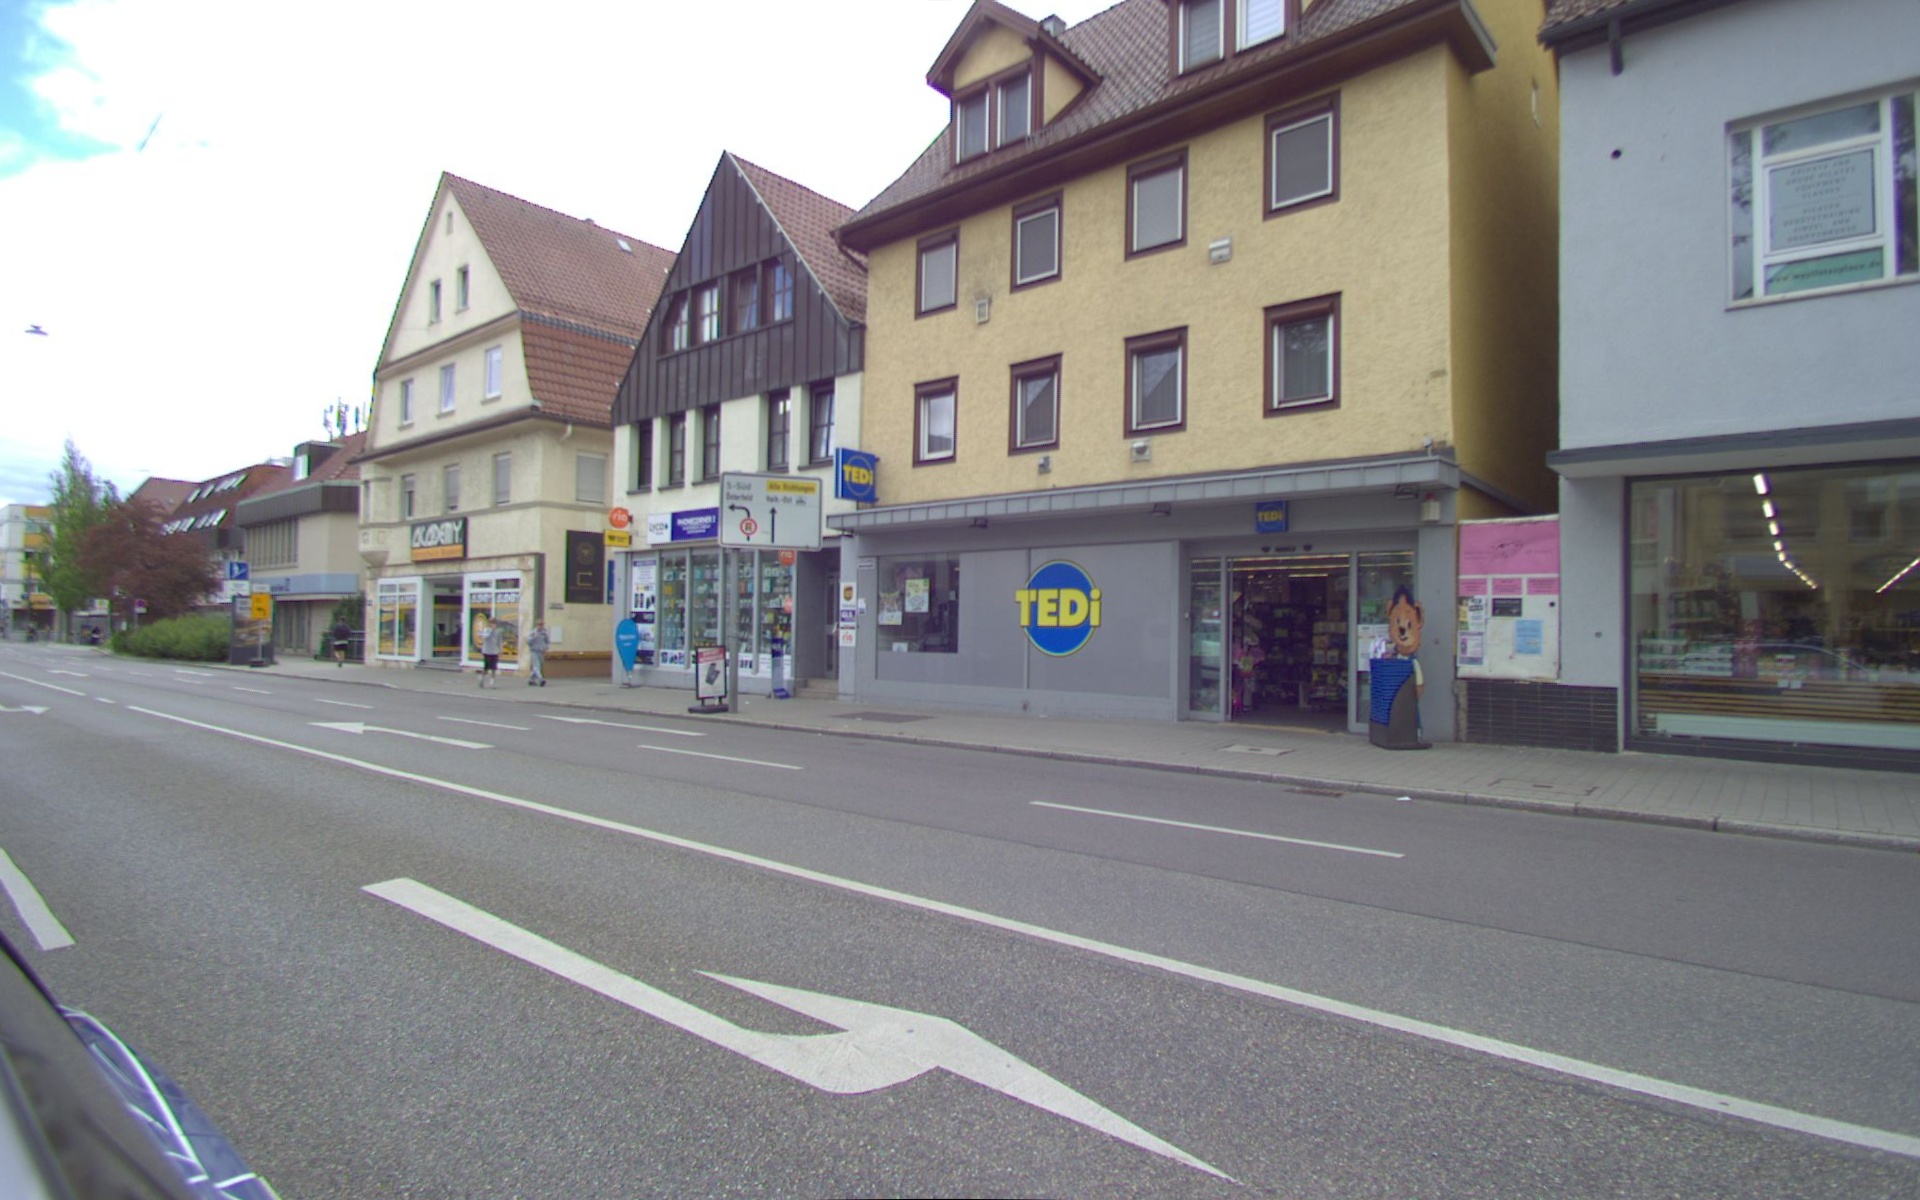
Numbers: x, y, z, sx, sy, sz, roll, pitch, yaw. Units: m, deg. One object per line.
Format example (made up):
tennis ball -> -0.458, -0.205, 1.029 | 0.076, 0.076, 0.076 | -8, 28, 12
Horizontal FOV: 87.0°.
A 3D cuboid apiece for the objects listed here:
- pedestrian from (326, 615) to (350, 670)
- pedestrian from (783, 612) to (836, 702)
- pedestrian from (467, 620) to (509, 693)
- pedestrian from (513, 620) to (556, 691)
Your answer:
pedestrian -> -22.117, 1.506, 35.980 | 0.592, 1.903, 0.544 | -2, -1, 37
pedestrian -> -2.962, 1.101, 19.950 | 0.775, 1.726, 0.679 | -2, -1, 41
pedestrian -> -11.331, 1.337, 24.297 | 0.742, 1.703, 0.680 | -2, -1, 41
pedestrian -> -10.460, 1.339, 24.865 | 0.709, 1.683, 0.680 | -2, 0, 41
